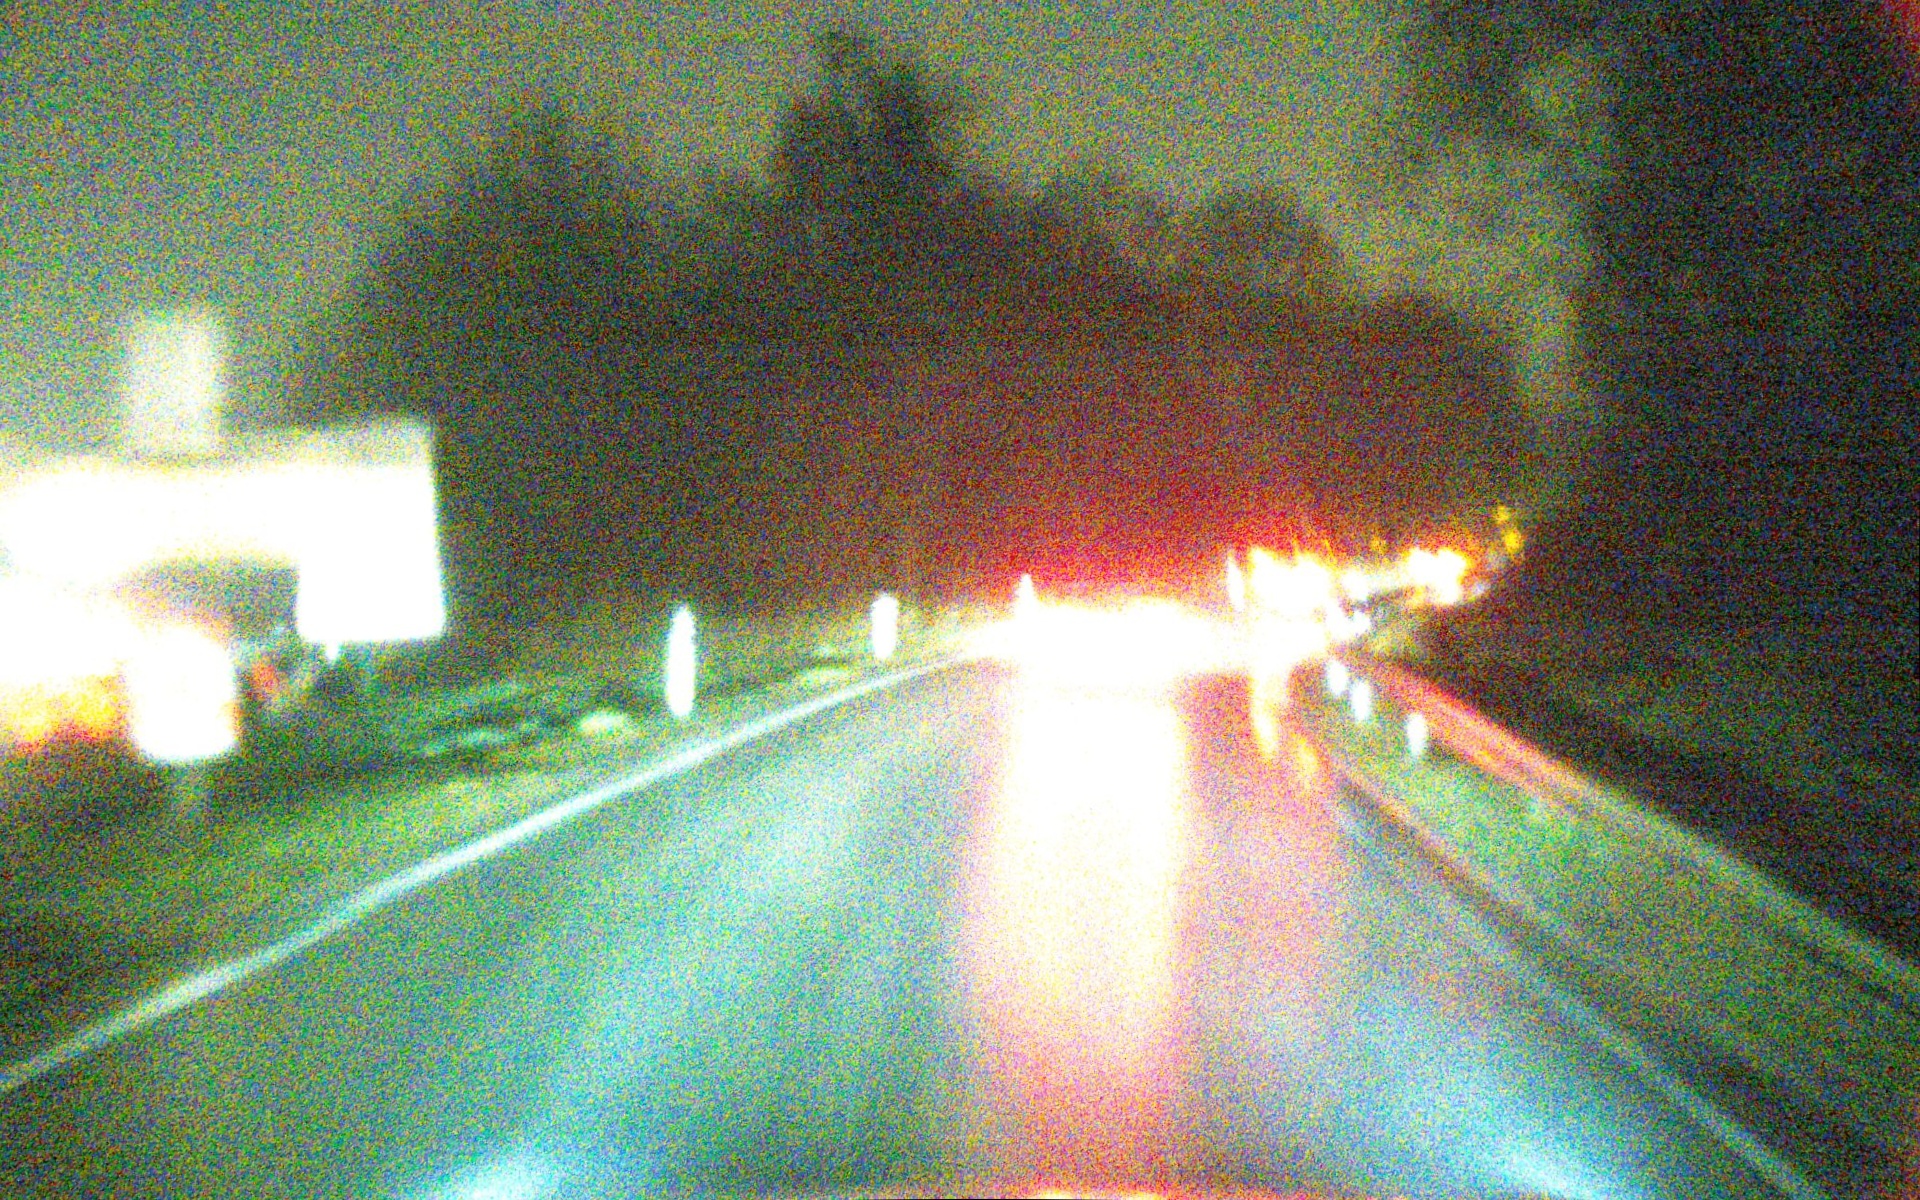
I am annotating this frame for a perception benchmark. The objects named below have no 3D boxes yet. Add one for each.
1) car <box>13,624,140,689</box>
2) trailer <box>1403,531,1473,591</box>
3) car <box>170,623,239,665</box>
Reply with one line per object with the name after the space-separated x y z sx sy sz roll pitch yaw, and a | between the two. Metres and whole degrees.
-21.112 1.330 39.688 1.931 1.405 4.029 -1 -1 -17 | car
19.129 -1.455 65.879 2.035 2.049 10.651 -3 -1 19 | trailer
-30.586 1.751 67.078 1.739 1.543 4.893 -2 0 -16 | car
